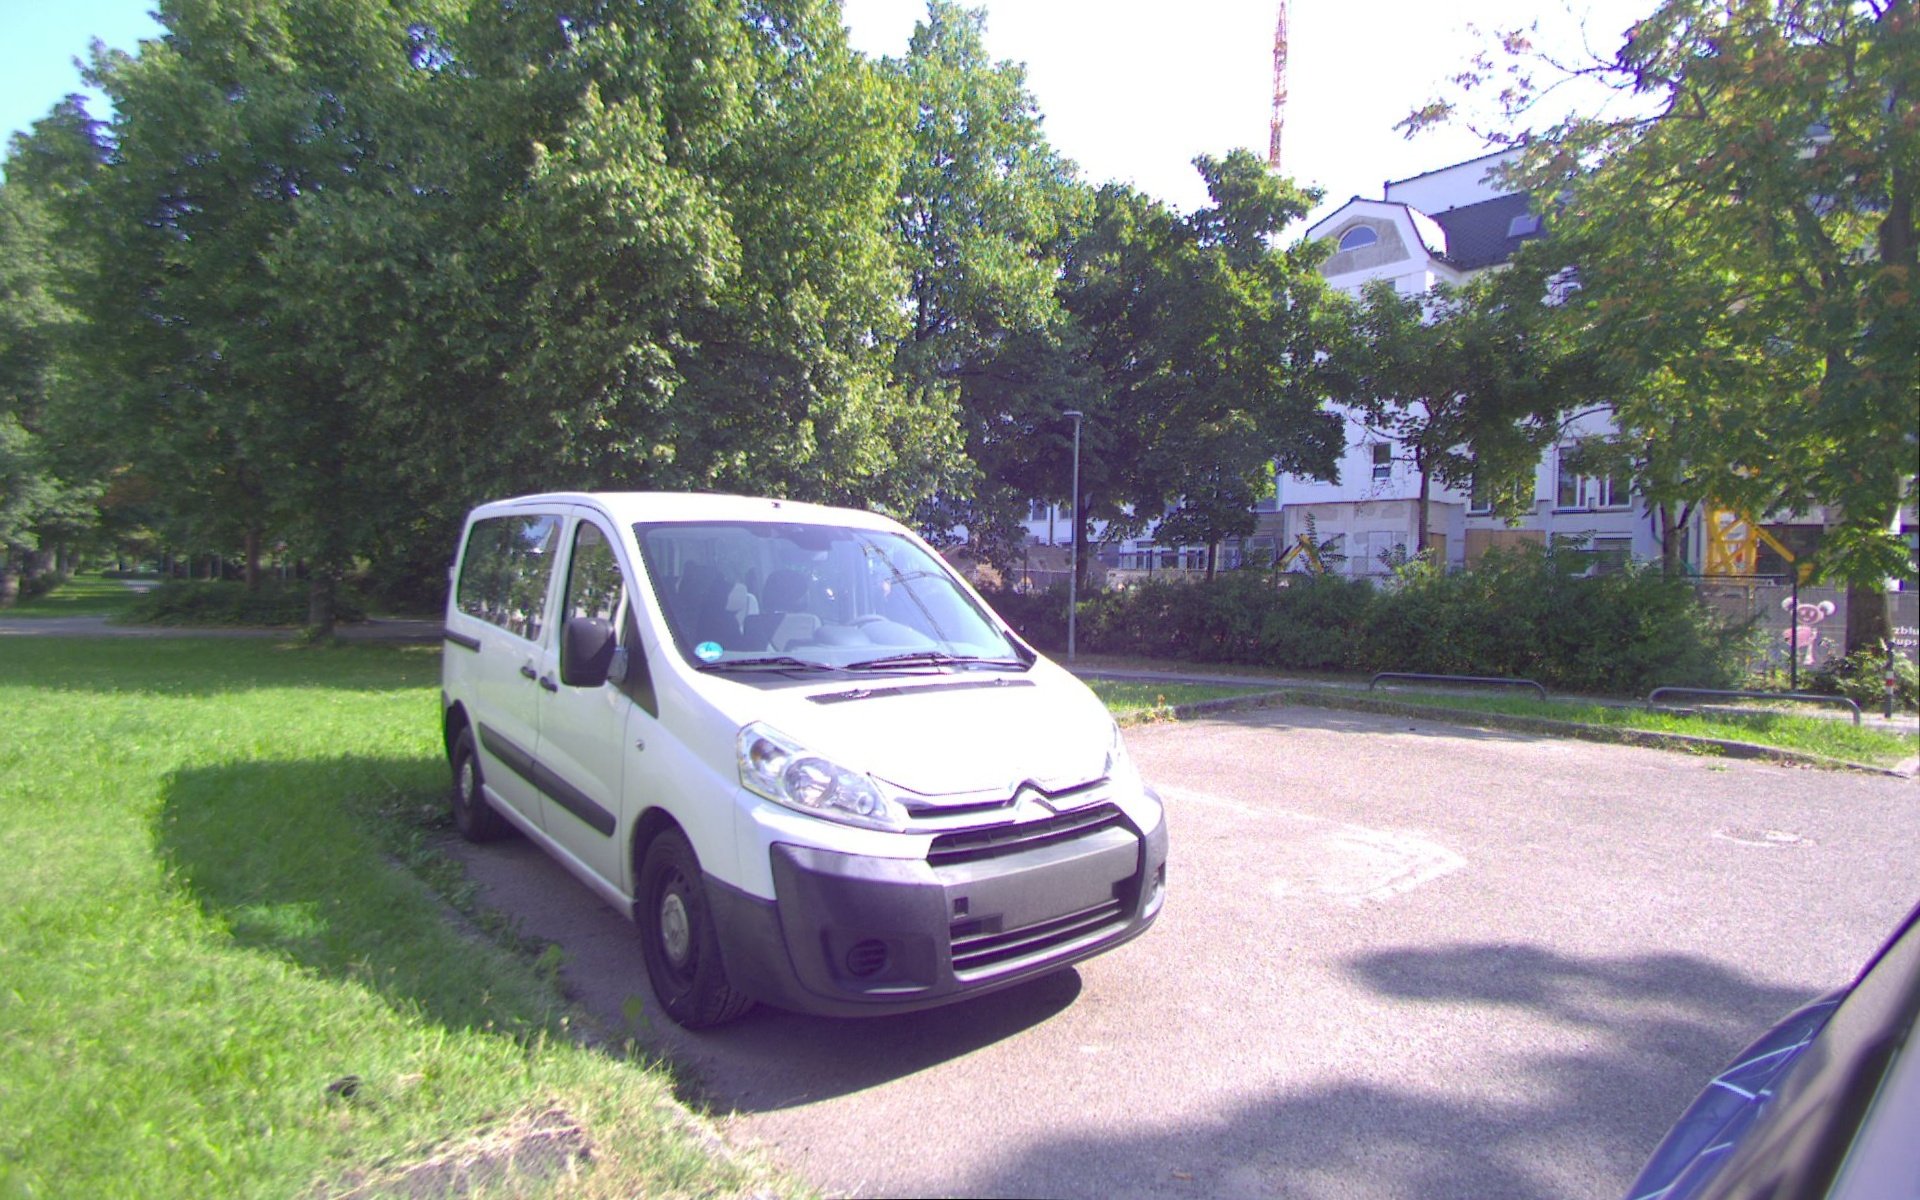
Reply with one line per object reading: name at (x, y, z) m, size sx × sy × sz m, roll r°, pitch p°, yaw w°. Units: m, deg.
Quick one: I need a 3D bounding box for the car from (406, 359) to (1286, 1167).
car at (-1.139, 0.329, 5.012) m, size 2.007 × 1.944 × 4.969 m, roll 0°, pitch 1°, yaw -39°

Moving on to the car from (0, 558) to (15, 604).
car at (-45.221, -0.871, 45.457) m, size 3.930 × 2.039 × 1.997 m, roll 0°, pitch 0°, yaw -41°
